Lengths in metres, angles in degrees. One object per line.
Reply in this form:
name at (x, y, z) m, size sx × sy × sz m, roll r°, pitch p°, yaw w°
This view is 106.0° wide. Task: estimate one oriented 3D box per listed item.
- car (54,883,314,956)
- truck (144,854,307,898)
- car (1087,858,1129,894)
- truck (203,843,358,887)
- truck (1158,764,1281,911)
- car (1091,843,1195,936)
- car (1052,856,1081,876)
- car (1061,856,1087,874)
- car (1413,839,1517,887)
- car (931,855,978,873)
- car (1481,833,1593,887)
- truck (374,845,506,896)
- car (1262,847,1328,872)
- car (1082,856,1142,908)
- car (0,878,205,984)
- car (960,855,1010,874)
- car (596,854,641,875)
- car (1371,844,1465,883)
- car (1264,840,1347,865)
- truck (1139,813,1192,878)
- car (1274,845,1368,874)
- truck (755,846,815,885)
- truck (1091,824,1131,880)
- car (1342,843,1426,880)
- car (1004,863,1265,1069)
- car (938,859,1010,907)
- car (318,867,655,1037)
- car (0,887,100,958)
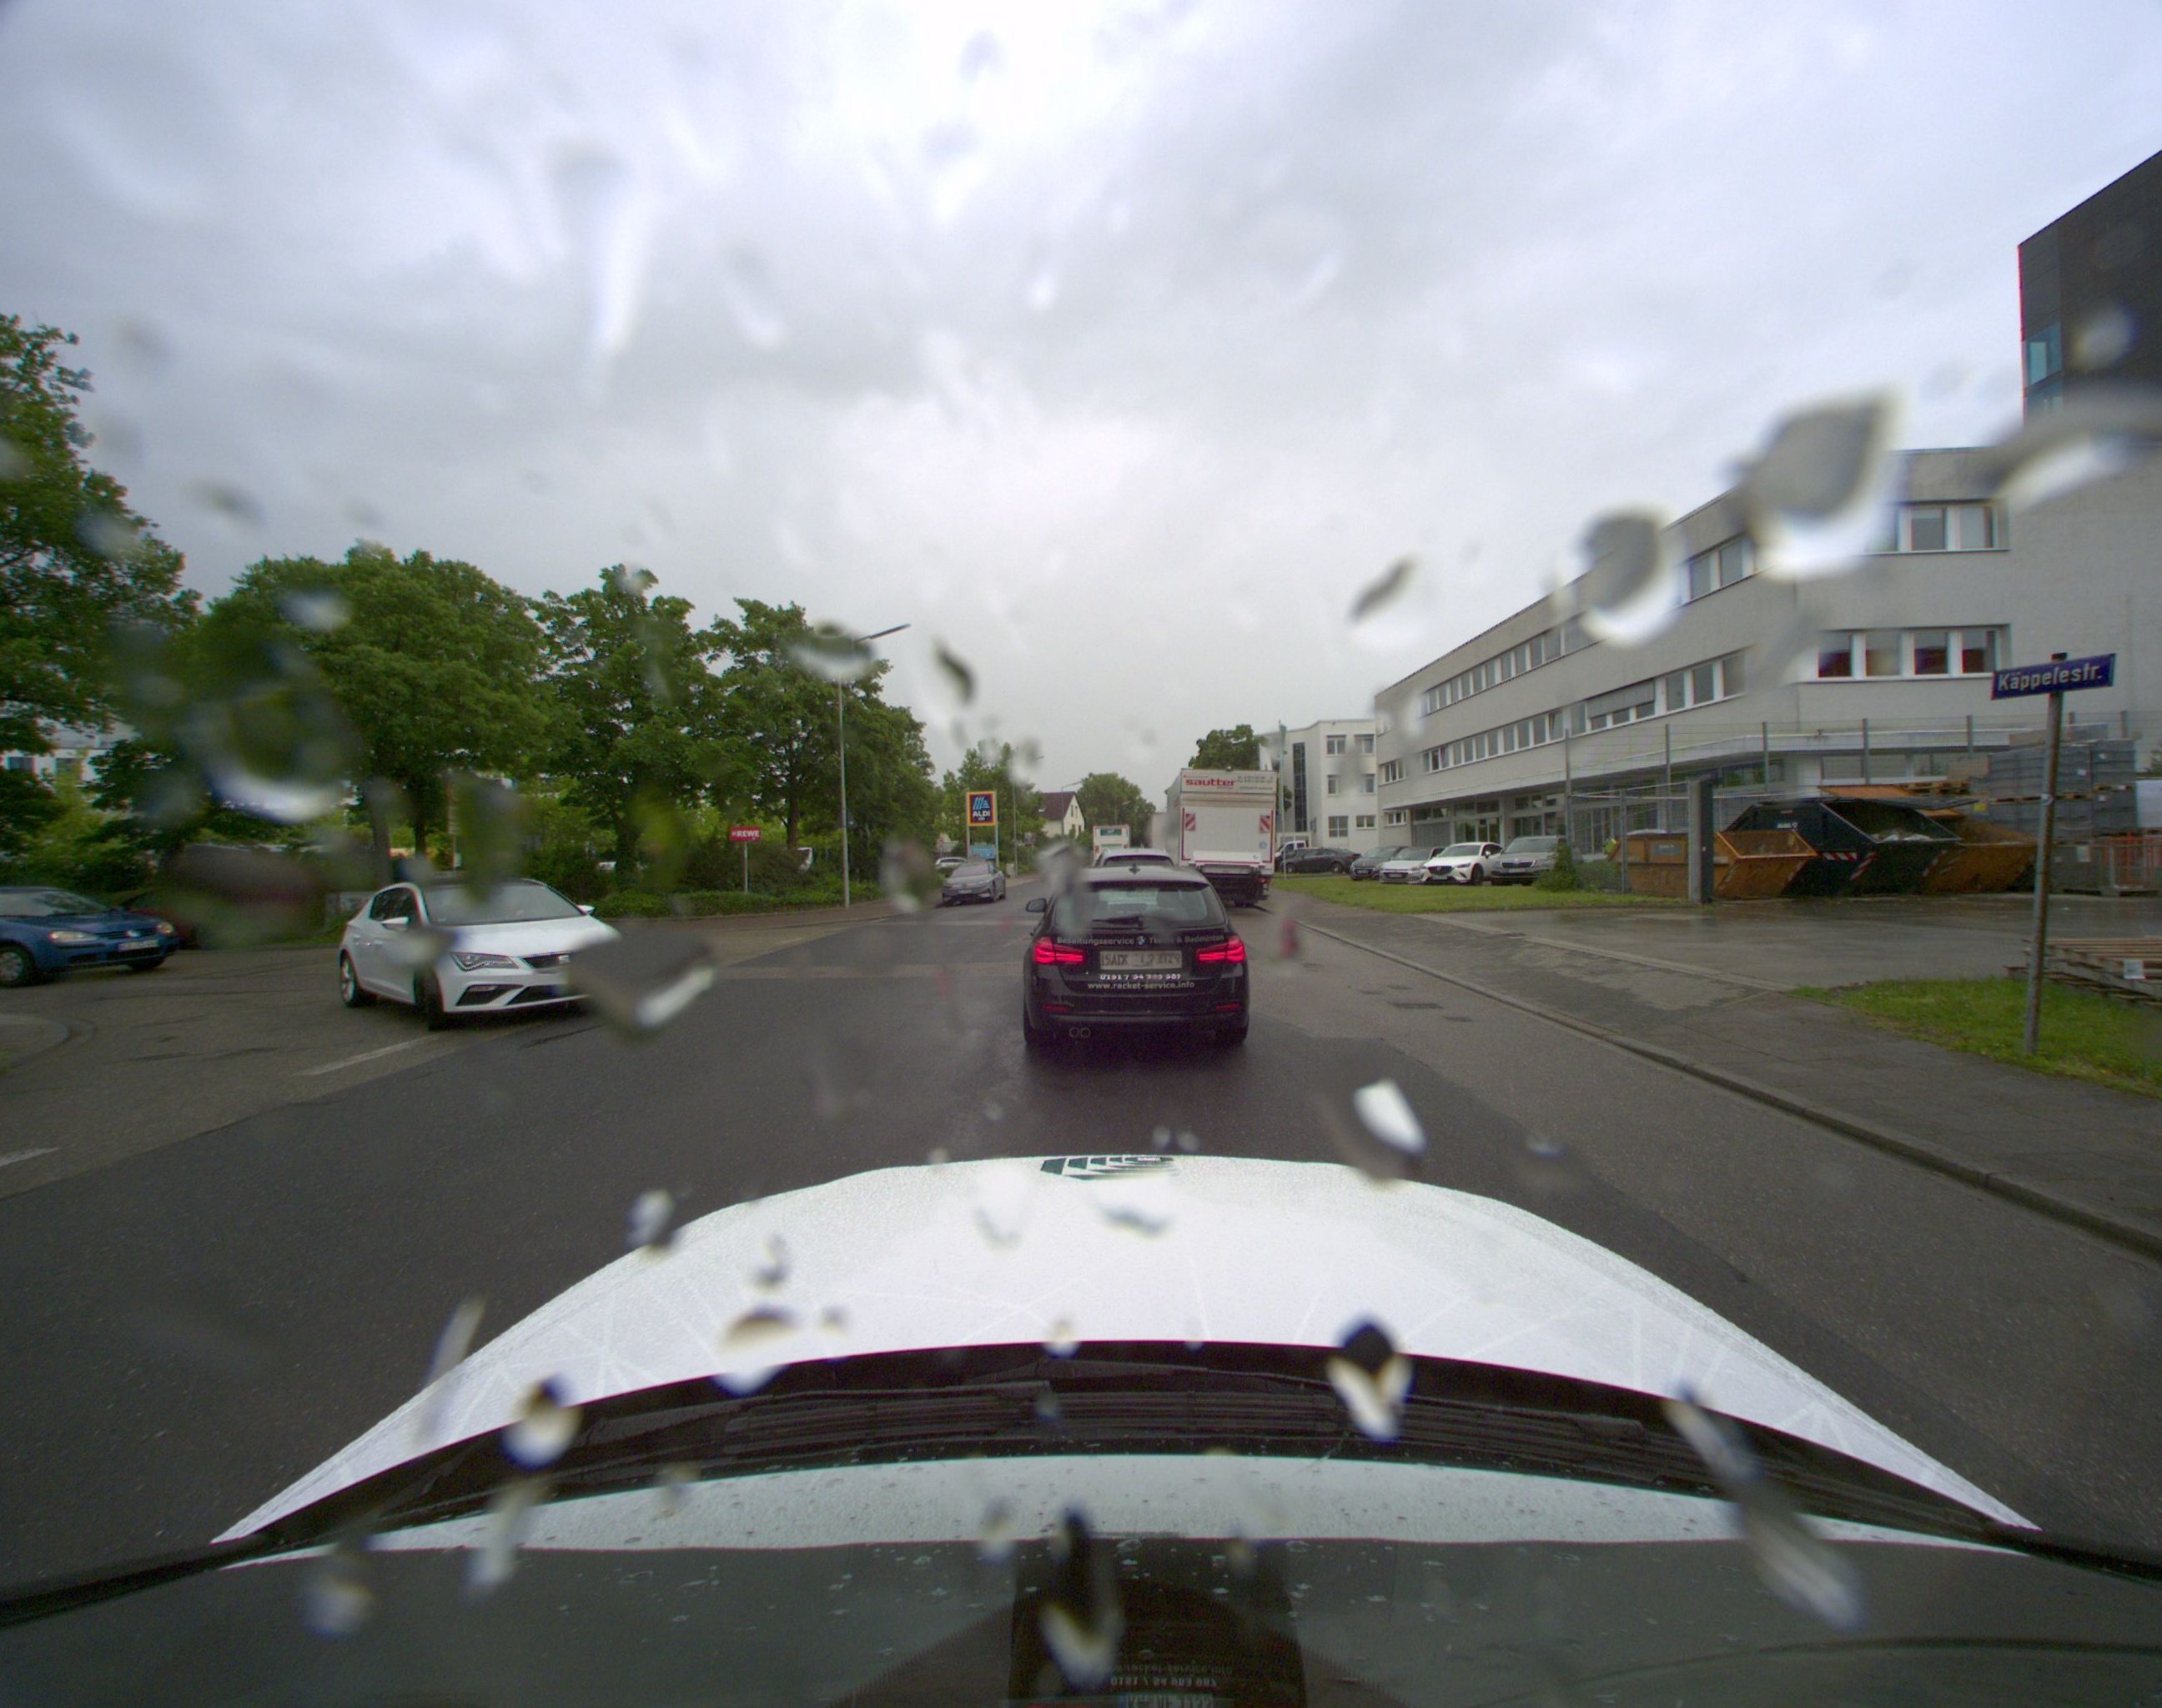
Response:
car at (-20.263, 1.454, 18.522) m, size 3.972 × 1.363 × 1.737 m, roll -2°, pitch 0°, yaw 1°
truck at (-44.750, 1.081, 42.884) m, size 1.987 × 2.060 × 6.134 m, roll -2°, pitch 0°, yaw 0°
car at (1.181, 0.963, 37.213) m, size 1.798 × 1.552 × 4.000 m, roll -1°, pitch 0°, yaw 1°
truck at (-41.717, 0.525, 42.716) m, size 1.987 × 2.094 × 6.134 m, roll -2°, pitch 0°, yaw 0°
truck at (4.066, -0.438, 25.949) m, size 2.730 × 3.789 × 9.306 m, roll 1°, pitch 0°, yaw 3°
car at (1.114, 0.635, 16.243) m, size 1.798 × 1.586 × 4.000 m, roll -1°, pitch 0°, yaw 1°
car at (-1.093, 0.929, 63.882) m, size 1.698 × 1.367 × 4.607 m, roll -4°, pitch 0°, yaw 4°
car at (-0.572, 0.944, 69.869) m, size 1.697 × 1.367 × 3.844 m, roll -4°, pitch 0°, yaw 6°
car at (12.972, 0.273, 27.424) m, size 4.022 × 1.470 × 1.754 m, roll -2°, pitch 0°, yaw -43°
car at (-11.782, 0.939, 75.779) m, size 3.970 × 1.540 × 1.912 m, roll -1°, pitch 0°, yaw 3°
car at (14.113, 0.147, 25.115) m, size 4.022 × 1.527 × 1.850 m, roll -2°, pitch 0°, yaw -43°
truck at (-35.962, 0.852, 46.033) m, size 1.984 × 2.601 × 6.403 m, roll -2°, pitch 0°, yaw 4°
car at (13.650, 0.324, 52.036) m, size 3.733 × 1.396 × 1.738 m, roll 2°, pitch 2°, yaw 42°
car at (0.953, 0.855, 26.626) m, size 1.798 × 1.552 × 4.000 m, roll -1°, pitch 0°, yaw 1°
car at (-16.588, 1.200, 12.682) m, size 3.972 × 1.441 × 1.737 m, roll -2°, pitch 0°, yaw 1°
car at (-7.309, 0.792, 62.236) m, size 3.554 × 1.460 × 1.714 m, roll 0°, pitch 0°, yaw 4°
car at (-45.696, 1.041, 80.523) m, size 1.985 × 2.014 × 4.003 m, roll -1°, pitch -1°, yaw 3°
car at (12.712, 0.334, 30.634) m, size 4.022 × 1.286 × 1.686 m, roll -2°, pitch 0°, yaw -43°
car at (18.844, -0.134, 68.620) m, size 6.437 × 2.014 × 1.998 m, roll -1°, pitch -1°, yaw -2°
truck at (5.021, -0.505, 49.543) m, size 2.730 × 3.611 × 7.754 m, roll 1°, pitch 0°, yaw 2°
car at (13.319, 0.308, 45.332) m, size 4.616 × 1.468 × 1.802 m, roll -2°, pitch 0°, yaw 40°
truck at (-22.596, 0.825, 62.534) m, size 1.986 × 2.753 × 6.469 m, roll -2°, pitch 0°, yaw 1°
truck at (1.978, -0.258, 52.566) m, size 2.332 × 3.256 × 7.757 m, roll 1°, pitch 2°, yaw 3°
car at (12.549, 0.308, 33.658) m, size 3.789 × 1.393 × 1.686 m, roll -2°, pitch 0°, yaw -43°
car at (0.399, 0.798, 7.671) m, size 1.798 × 1.395 × 4.000 m, roll -1°, pitch 0°, yaw 1°
car at (-3.935, 1.020, 30.774) m, size 1.802 × 1.528 × 4.749 m, roll -5°, pitch 0°, yaw 2°
car at (-6.718, 0.953, 9.098) m, size 3.948 × 1.441 × 1.747 m, roll -2°, pitch 0°, yaw 34°
car at (-25.232, 1.595, 18.426) m, size 3.972 × 1.441 × 1.737 m, roll -2°, pitch 0°, yaw 1°
